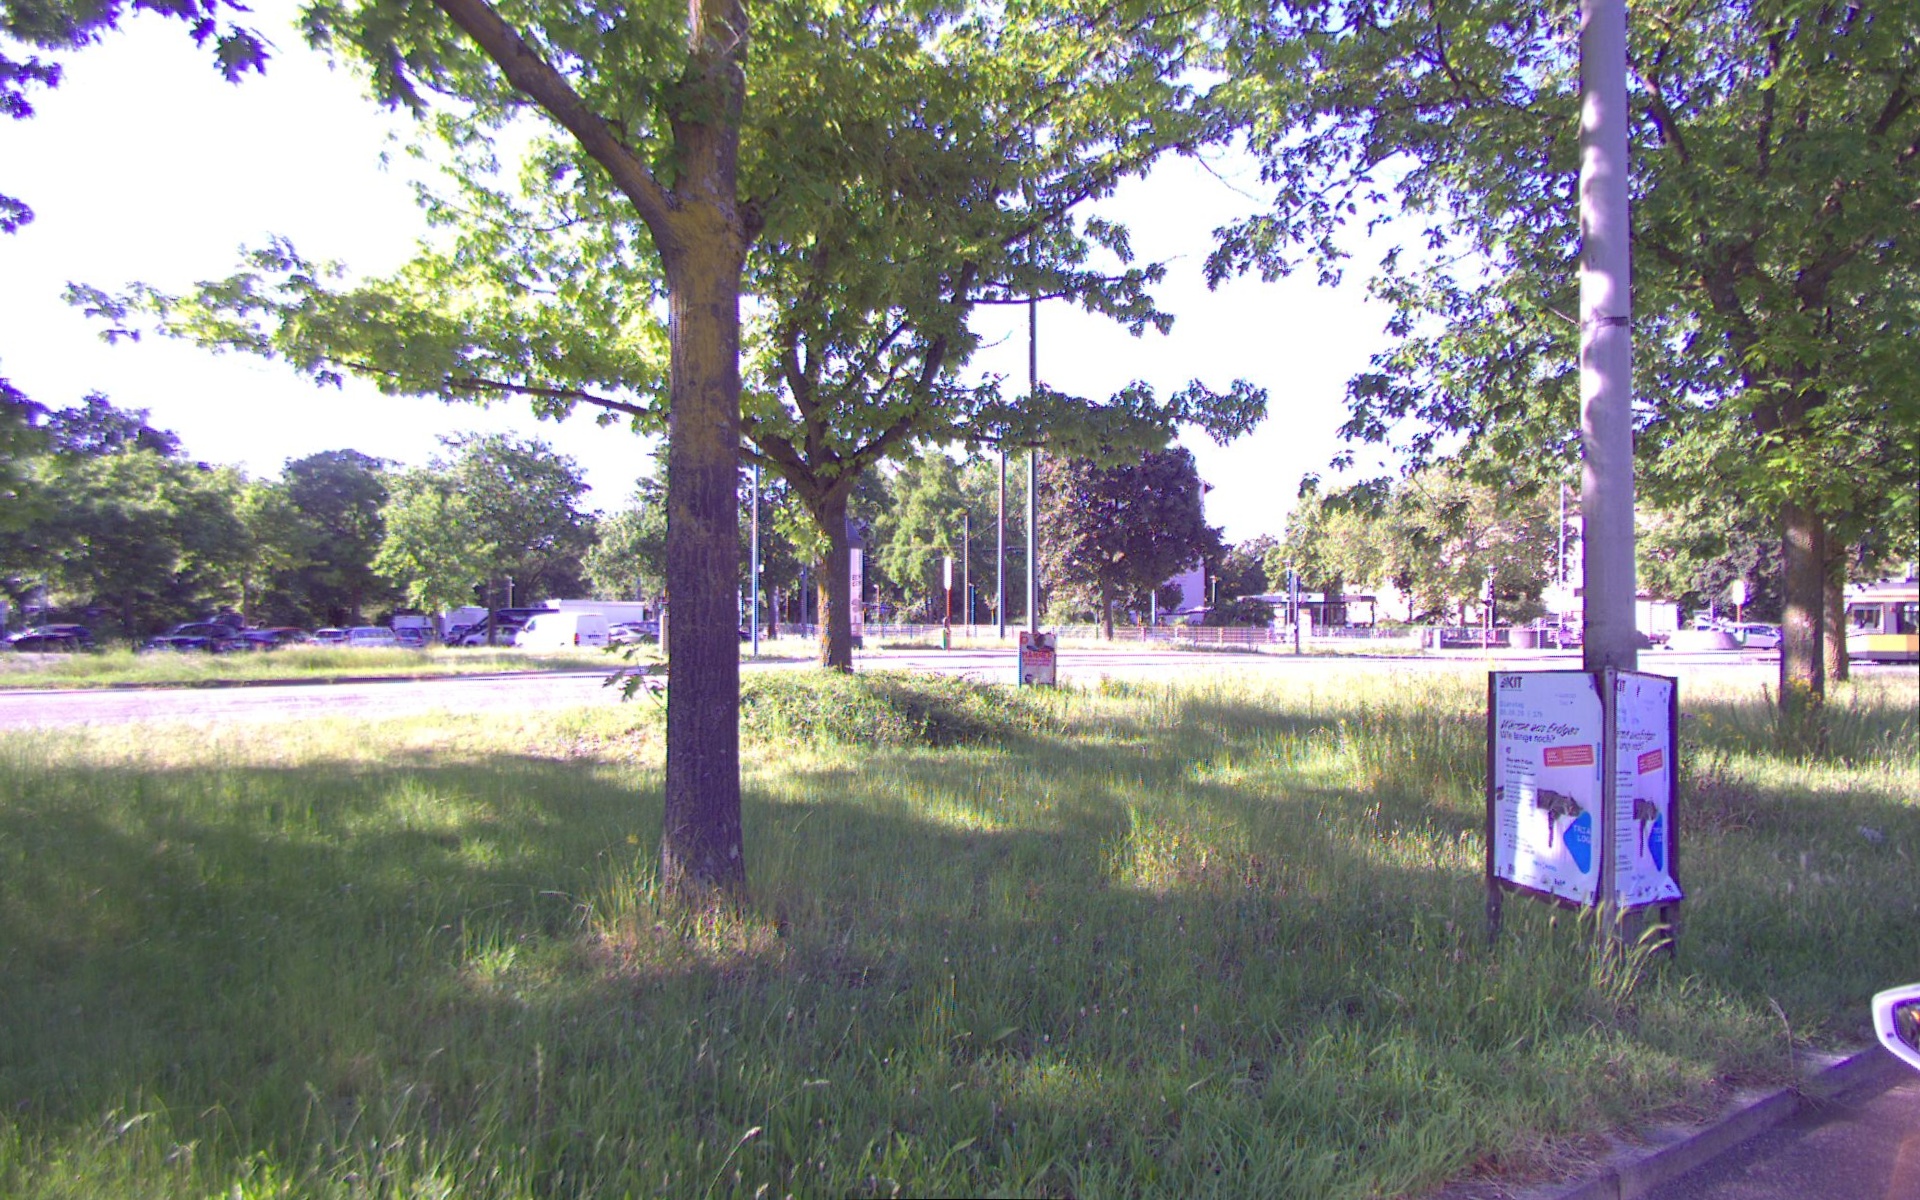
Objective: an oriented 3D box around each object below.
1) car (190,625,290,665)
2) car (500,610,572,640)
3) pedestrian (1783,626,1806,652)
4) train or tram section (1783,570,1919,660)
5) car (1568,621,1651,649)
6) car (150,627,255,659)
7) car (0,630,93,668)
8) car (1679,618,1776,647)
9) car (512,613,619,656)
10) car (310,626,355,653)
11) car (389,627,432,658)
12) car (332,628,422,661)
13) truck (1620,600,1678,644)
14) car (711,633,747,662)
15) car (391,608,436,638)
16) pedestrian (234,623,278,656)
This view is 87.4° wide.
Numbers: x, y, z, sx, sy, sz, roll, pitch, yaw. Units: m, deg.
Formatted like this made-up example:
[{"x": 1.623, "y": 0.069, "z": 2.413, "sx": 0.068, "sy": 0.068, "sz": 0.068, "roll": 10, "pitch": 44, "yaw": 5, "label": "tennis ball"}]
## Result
[{"x": -25.235, "y": 1.559, "z": 35.242, "sx": 2.769, "sy": 1.323, "sz": 1.326, "roll": 1, "pitch": -1, "yaw": -40, "label": "car"}, {"x": -24.133, "y": 1.409, "z": 57.287, "sx": 3.698, "sy": 1.691, "sz": 1.883, "roll": 1, "pitch": -1, "yaw": -23, "label": "car"}, {"x": 53.597, "y": 2.515, "z": 64.528, "sx": 0.781, "sy": 1.629, "sz": 0.923, "roll": 0, "pitch": -1, "yaw": 9, "label": "pedestrian"}, {"x": 44.585, "y": 0.648, "z": 40.090, "sx": 18.989, "sy": 3.559, "sz": 3.309, "roll": 0, "pitch": -1, "yaw": 10, "label": "train or tram section"}, {"x": 40.791, "y": 2.199, "z": 63.200, "sx": 3.919, "sy": 1.706, "sz": 2.001, "roll": 0, "pitch": -1, "yaw": 9, "label": "car"}, {"x": -26.845, "y": 1.500, "z": 35.627, "sx": 1.315, "sy": 1.078, "sz": 2.777, "roll": -1, "pitch": -1, "yaw": 42, "label": "car"}, {"x": -47.683, "y": 2.491, "z": 51.870, "sx": 1.966, "sy": 1.817, "sz": 3.990, "roll": 0, "pitch": -1, "yaw": 32, "label": "car"}, {"x": 46.904, "y": 1.962, "z": 61.464, "sx": 4.233, "sy": 1.706, "sz": 2.001, "roll": 0, "pitch": -1, "yaw": 9, "label": "car"}, {"x": -17.221, "y": 1.471, "z": 43.799, "sx": 4.670, "sy": 1.762, "sz": 2.024, "roll": 0, "pitch": -1, "yaw": 34, "label": "car"}, {"x": -29.297, "y": 1.821, "z": 46.863, "sx": 1.603, "sy": 1.194, "sz": 3.047, "roll": 1, "pitch": -1, "yaw": -35, "label": "car"}, {"x": -26.704, "y": 2.025, "z": 48.777, "sx": 1.602, "sy": 1.438, "sz": 3.050, "roll": 1, "pitch": -1, "yaw": -33, "label": "car"}, {"x": -21.828, "y": 1.630, "z": 37.632, "sx": 2.769, "sy": 1.171, "sz": 1.326, "roll": 1, "pitch": -1, "yaw": -40, "label": "car"}, {"x": 46.638, "y": 1.475, "z": 68.089, "sx": 1.960, "sy": 2.842, "sz": 4.002, "roll": 0, "pitch": -1, "yaw": 15, "label": "truck"}, {"x": -12.033, "y": 2.450, "z": 52.486, "sx": 1.589, "sy": 1.438, "sz": 3.073, "roll": 0, "pitch": -1, "yaw": -8, "label": "car"}, {"x": -32.491, "y": 1.361, "z": 59.784, "sx": 1.865, "sy": 1.691, "sz": 3.733, "roll": 1, "pitch": -1, "yaw": -22, "label": "car"}, {"x": -28.249, "y": 1.566, "z": 40.303, "sx": 1.130, "sy": 1.292, "sz": 1.105, "roll": 0, "pitch": -1, "yaw": 33, "label": "pedestrian"}]
